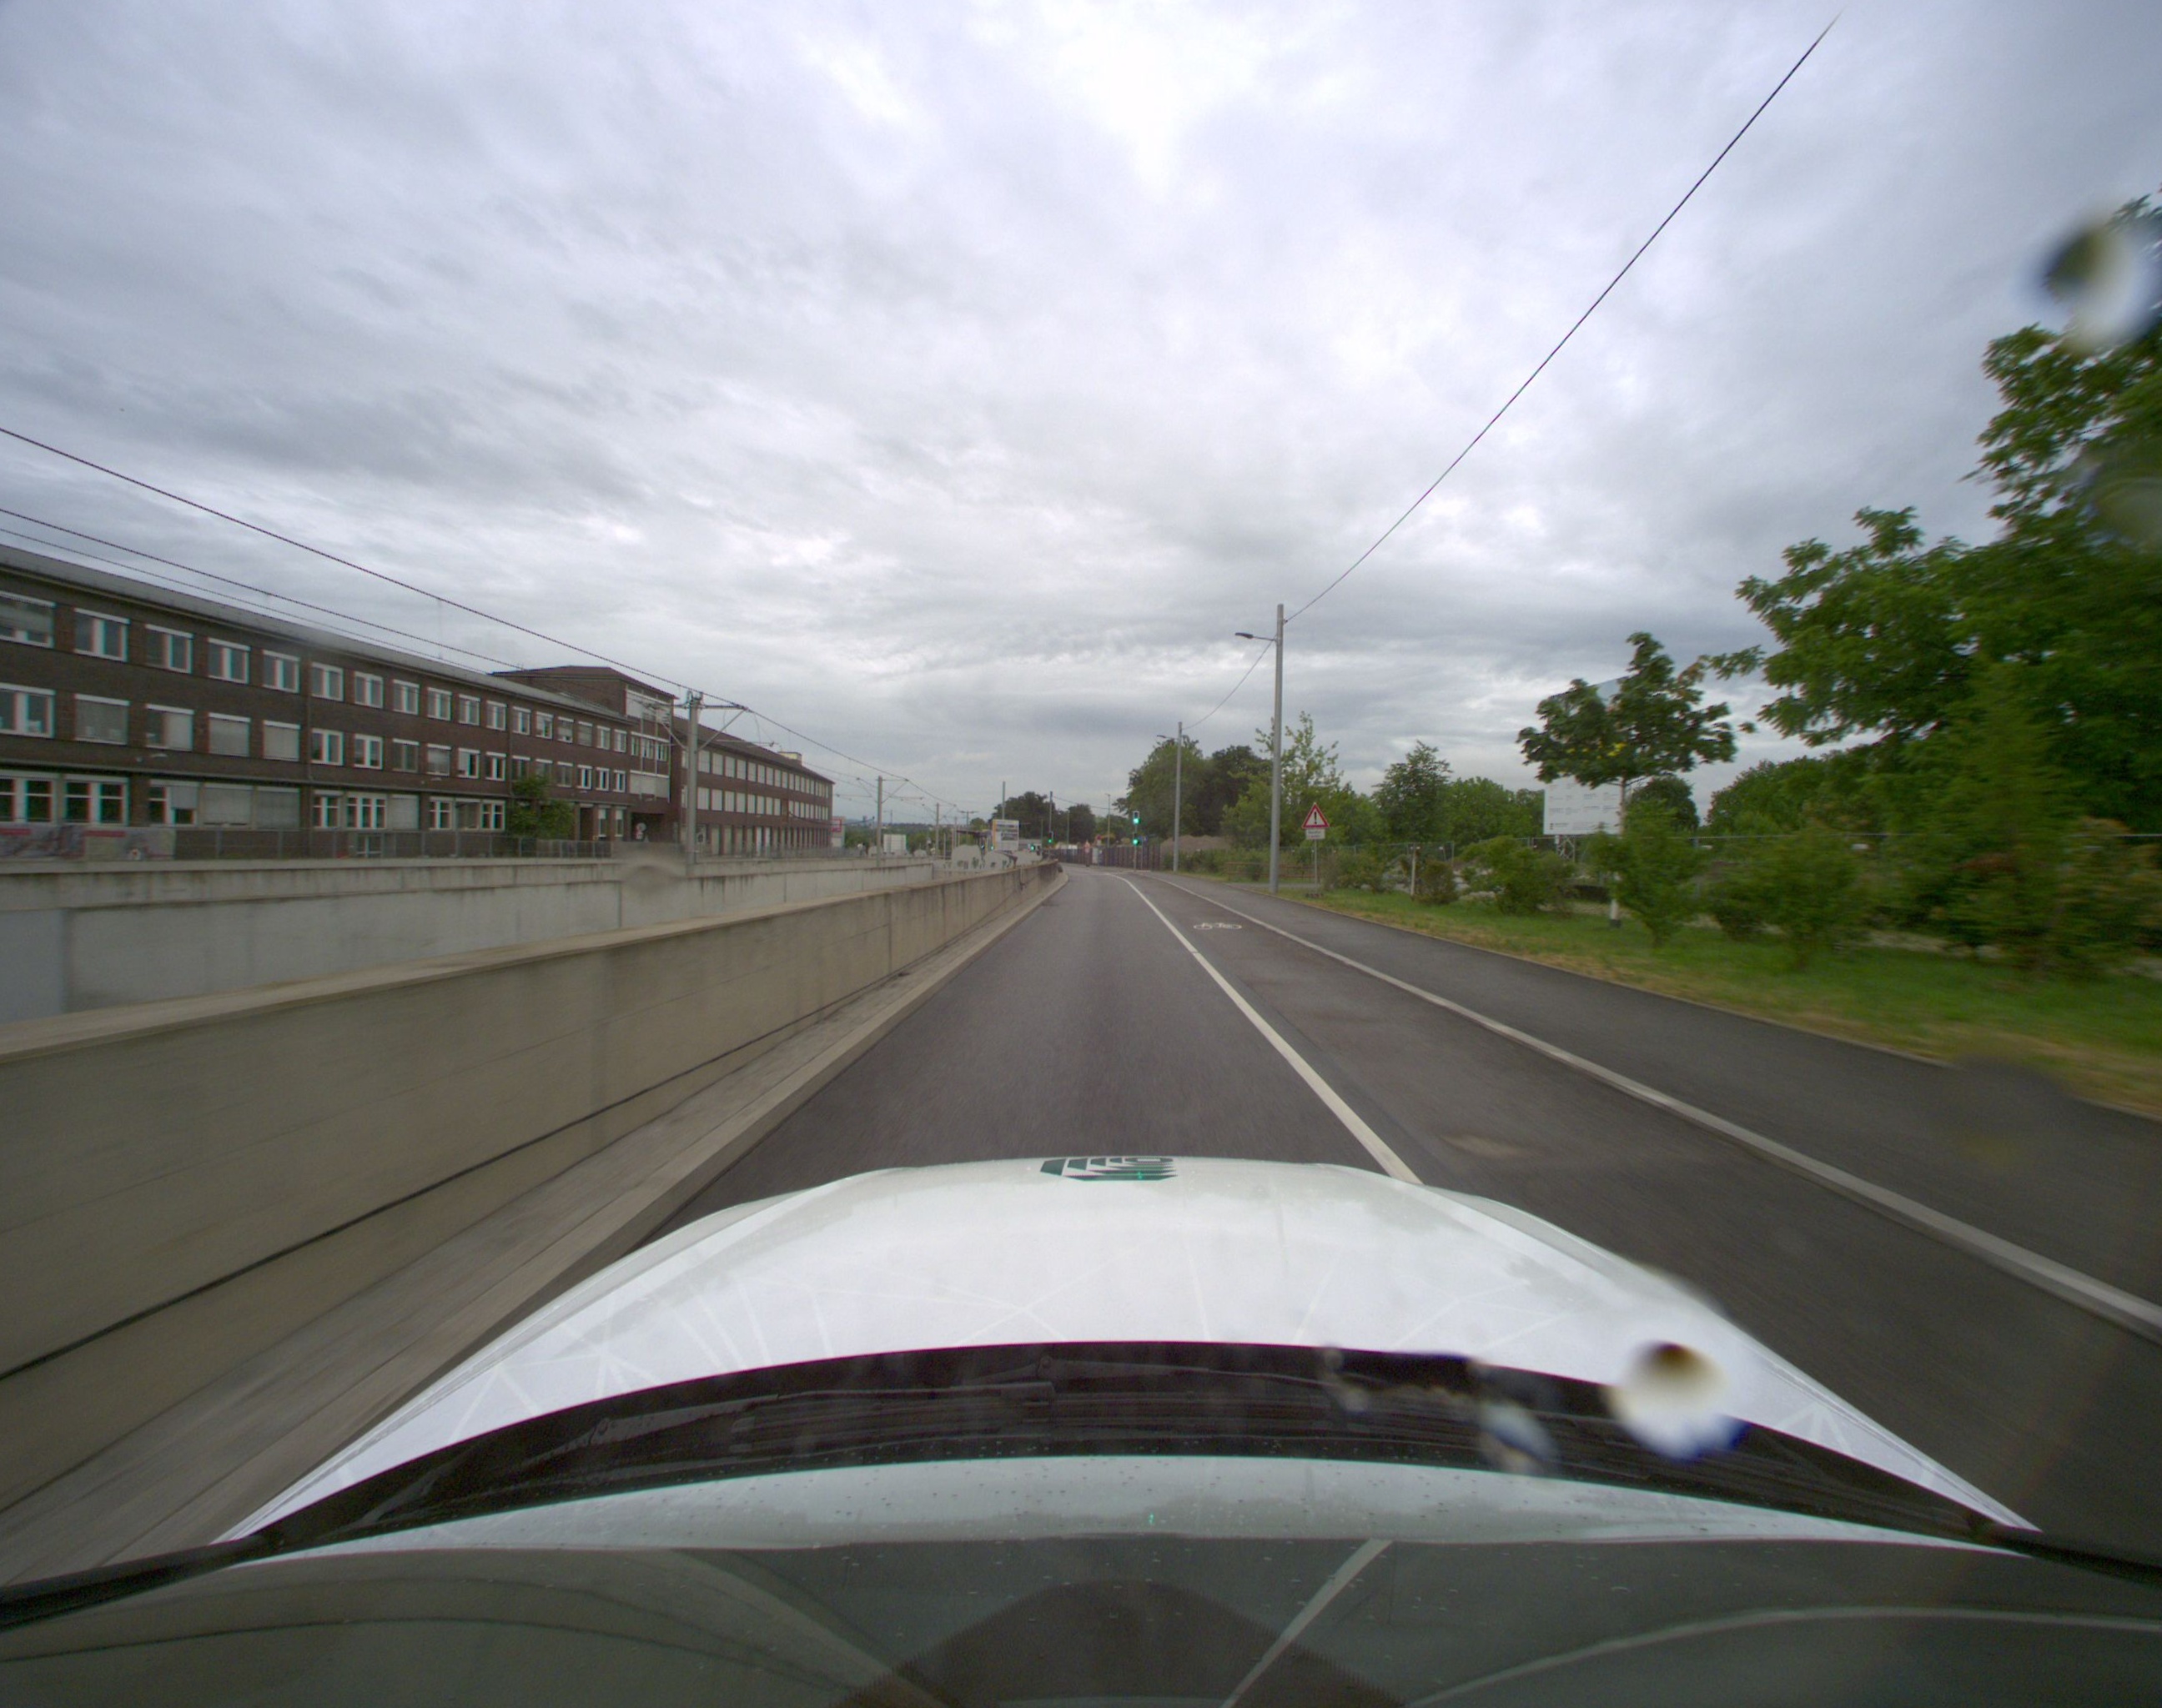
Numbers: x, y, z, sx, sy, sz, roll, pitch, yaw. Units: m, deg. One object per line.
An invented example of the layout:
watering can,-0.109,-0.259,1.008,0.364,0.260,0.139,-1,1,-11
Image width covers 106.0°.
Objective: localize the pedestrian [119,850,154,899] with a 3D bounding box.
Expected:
pedestrian,-38.793,0.844,33.450,0.669,2.014,0.652,0,-1,-1
